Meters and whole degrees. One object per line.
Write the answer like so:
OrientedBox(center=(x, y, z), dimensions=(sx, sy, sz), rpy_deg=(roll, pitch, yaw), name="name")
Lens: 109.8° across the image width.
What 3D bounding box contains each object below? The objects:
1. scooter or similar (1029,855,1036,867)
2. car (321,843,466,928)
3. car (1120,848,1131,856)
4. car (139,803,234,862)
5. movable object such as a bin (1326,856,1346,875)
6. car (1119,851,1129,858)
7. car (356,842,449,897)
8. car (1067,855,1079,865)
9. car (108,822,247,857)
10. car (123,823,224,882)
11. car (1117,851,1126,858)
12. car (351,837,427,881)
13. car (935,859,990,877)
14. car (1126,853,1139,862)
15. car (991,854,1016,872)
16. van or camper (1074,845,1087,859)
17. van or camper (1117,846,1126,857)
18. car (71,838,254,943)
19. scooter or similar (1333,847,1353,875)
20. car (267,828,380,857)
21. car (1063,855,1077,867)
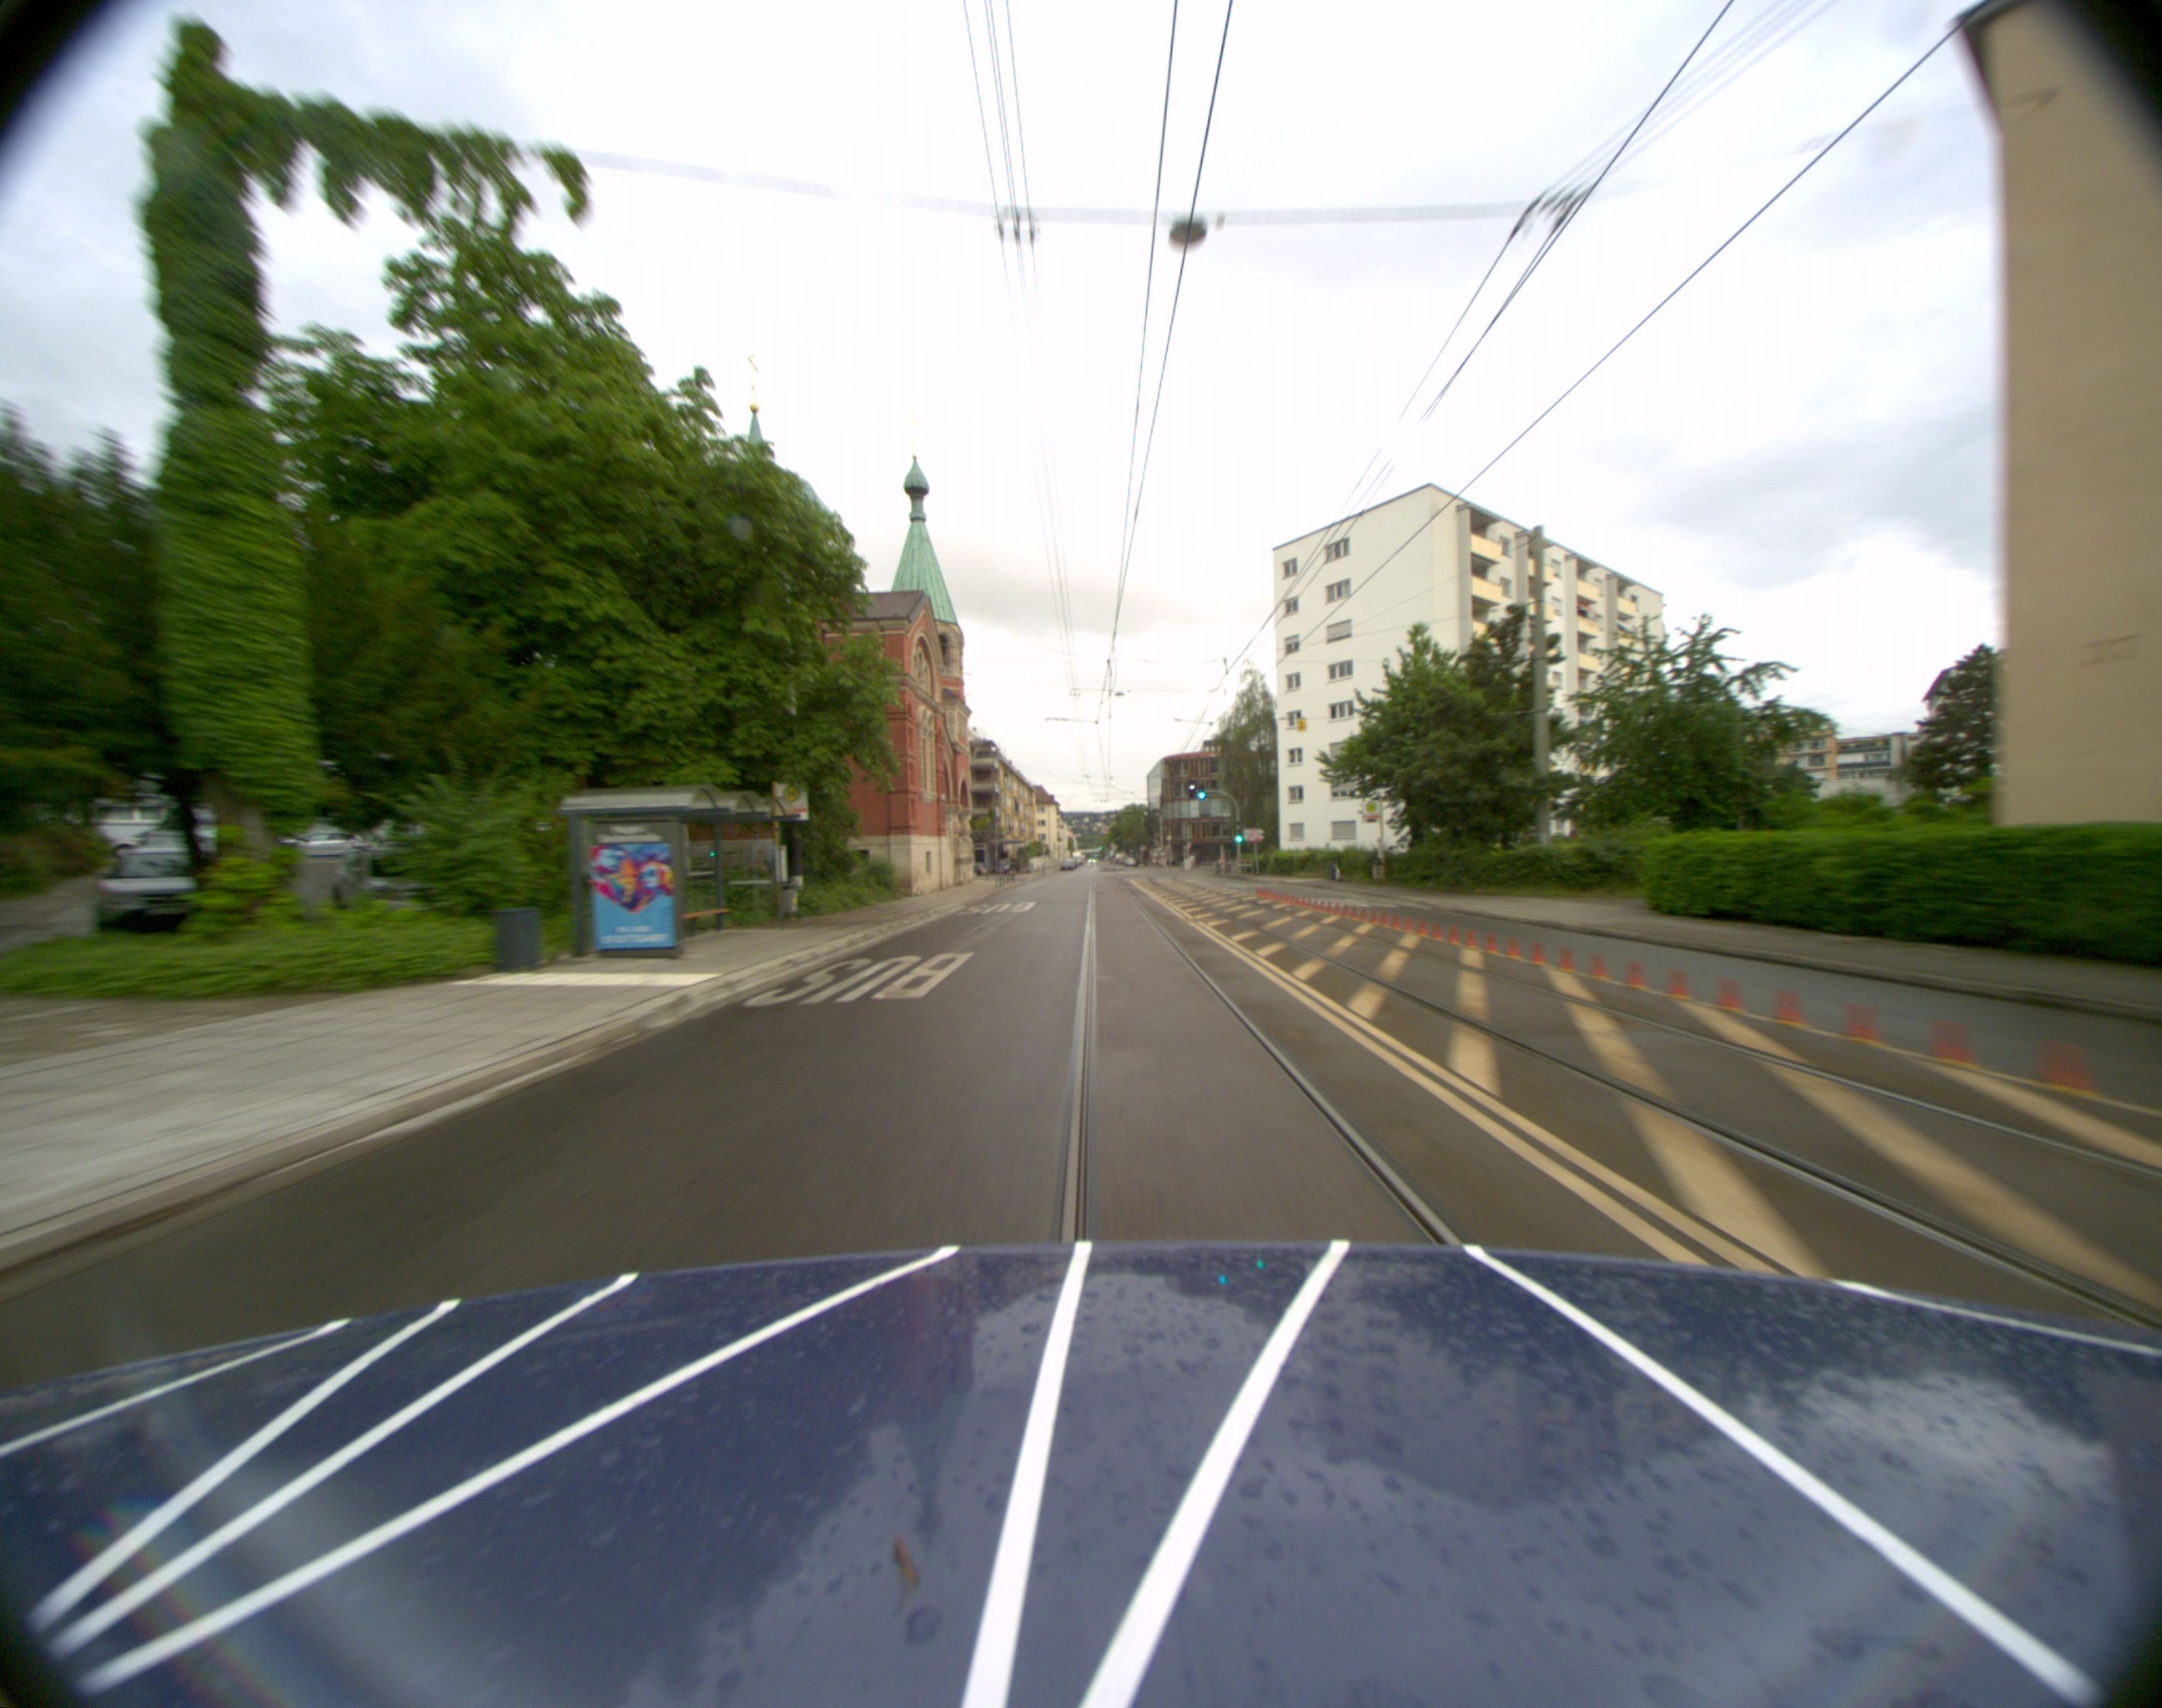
OrientedBox(center=(-5.473, 0.774, 85.167), dimensions=(0.536, 1.320, 1.659), rpy_deg=(3, 1, 2), name="scooter or similar")
OrientedBox(center=(-15.026, 0.620, 16.529), dimensions=(4.372, 1.549, 1.845), rpy_deg=(-1, 2, 42), name="car")
OrientedBox(center=(9.947, -0.454, 169.895), dimensions=(1.881, 1.700, 3.998), rpy_deg=(-1, 2, -2), name="car")
OrientedBox(center=(-32.448, -0.772, 27.684), dimensions=(3.988, 1.966, 2.004), rpy_deg=(-1, 2, 42), name="car")
OrientedBox(center=(12.457, 0.550, 37.125), dimensions=(0.688, 0.877, 0.760), rpy_deg=(-3, 2, -4), name="movable object such as a bin")
OrientedBox(center=(9.301, 0.053, 164.874), dimensions=(1.881, 1.390, 3.998), rpy_deg=(-1, 2, -2), name="car")
OrientedBox(center=(-21.694, 0.480, 24.236), dimensions=(3.984, 1.555, 1.845), rpy_deg=(-1, 2, 44), name="car")
OrientedBox(center=(-1.293, 1.001, 125.098), dimensions=(1.916, 1.418, 4.450), rpy_deg=(-2, 1, 1), name="car")
OrientedBox(center=(-43.066, -0.681, 36.376), dimensions=(4.008, 1.521, 1.824), rpy_deg=(-1, 0, -40), name="car")
OrientedBox(center=(-28.462, -0.041, 23.898), dimensions=(4.190, 1.686, 1.845), rpy_deg=(-1, 2, 41), name="car")
OrientedBox(center=(10.200, 0.035, 190.032), dimensions=(1.998, 1.566, 3.999), rpy_deg=(-2, 2, 0), name="car")
OrientedBox(center=(-25.316, 0.173, 27.767), dimensions=(3.825, 1.437, 1.747), rpy_deg=(-1, 2, 44), name="car")
OrientedBox(center=(-10.298, 1.238, 66.322), dimensions=(4.460, 1.448, 1.996), rpy_deg=(3, -3, -45), name="car")
OrientedBox(center=(8.402, 0.588, 124.848), dimensions=(1.862, 1.386, 4.644), rpy_deg=(-1, 0, 0), name="car")
OrientedBox(center=(-7.690, 0.873, 75.996), dimensions=(1.858, 1.495, 4.448), rpy_deg=(1, 2, 2), name="car")
OrientedBox(center=(-0.107, -0.556, 176.758), dimensions=(2.753, 3.041, 7.029), rpy_deg=(-2, 2, 2), name="van or camper")
OrientedBox(center=(10.428, -0.555, 196.344), dimensions=(2.143, 2.588, 5.549), rpy_deg=(-2, 2, 2), name="van or camper")
OrientedBox(center=(-17.287, 0.608, 14.516), dimensions=(4.190, 1.686, 1.845), rpy_deg=(-1, 2, 44), name="car")
OrientedBox(center=(12.095, 0.312, 35.062), dimensions=(0.573, 1.177, 1.600), rpy_deg=(-2, 2, 9), name="scooter or similar")
OrientedBox(center=(-39.481, -0.594, 39.739), dimensions=(4.008, 1.398, 1.824), rpy_deg=(-1, 0, -39), name="car")
OrientedBox(center=(-1.551, 0.987, 107.896), dimensions=(1.734, 1.451, 4.477), rpy_deg=(-2, 2, 1), name="car")
